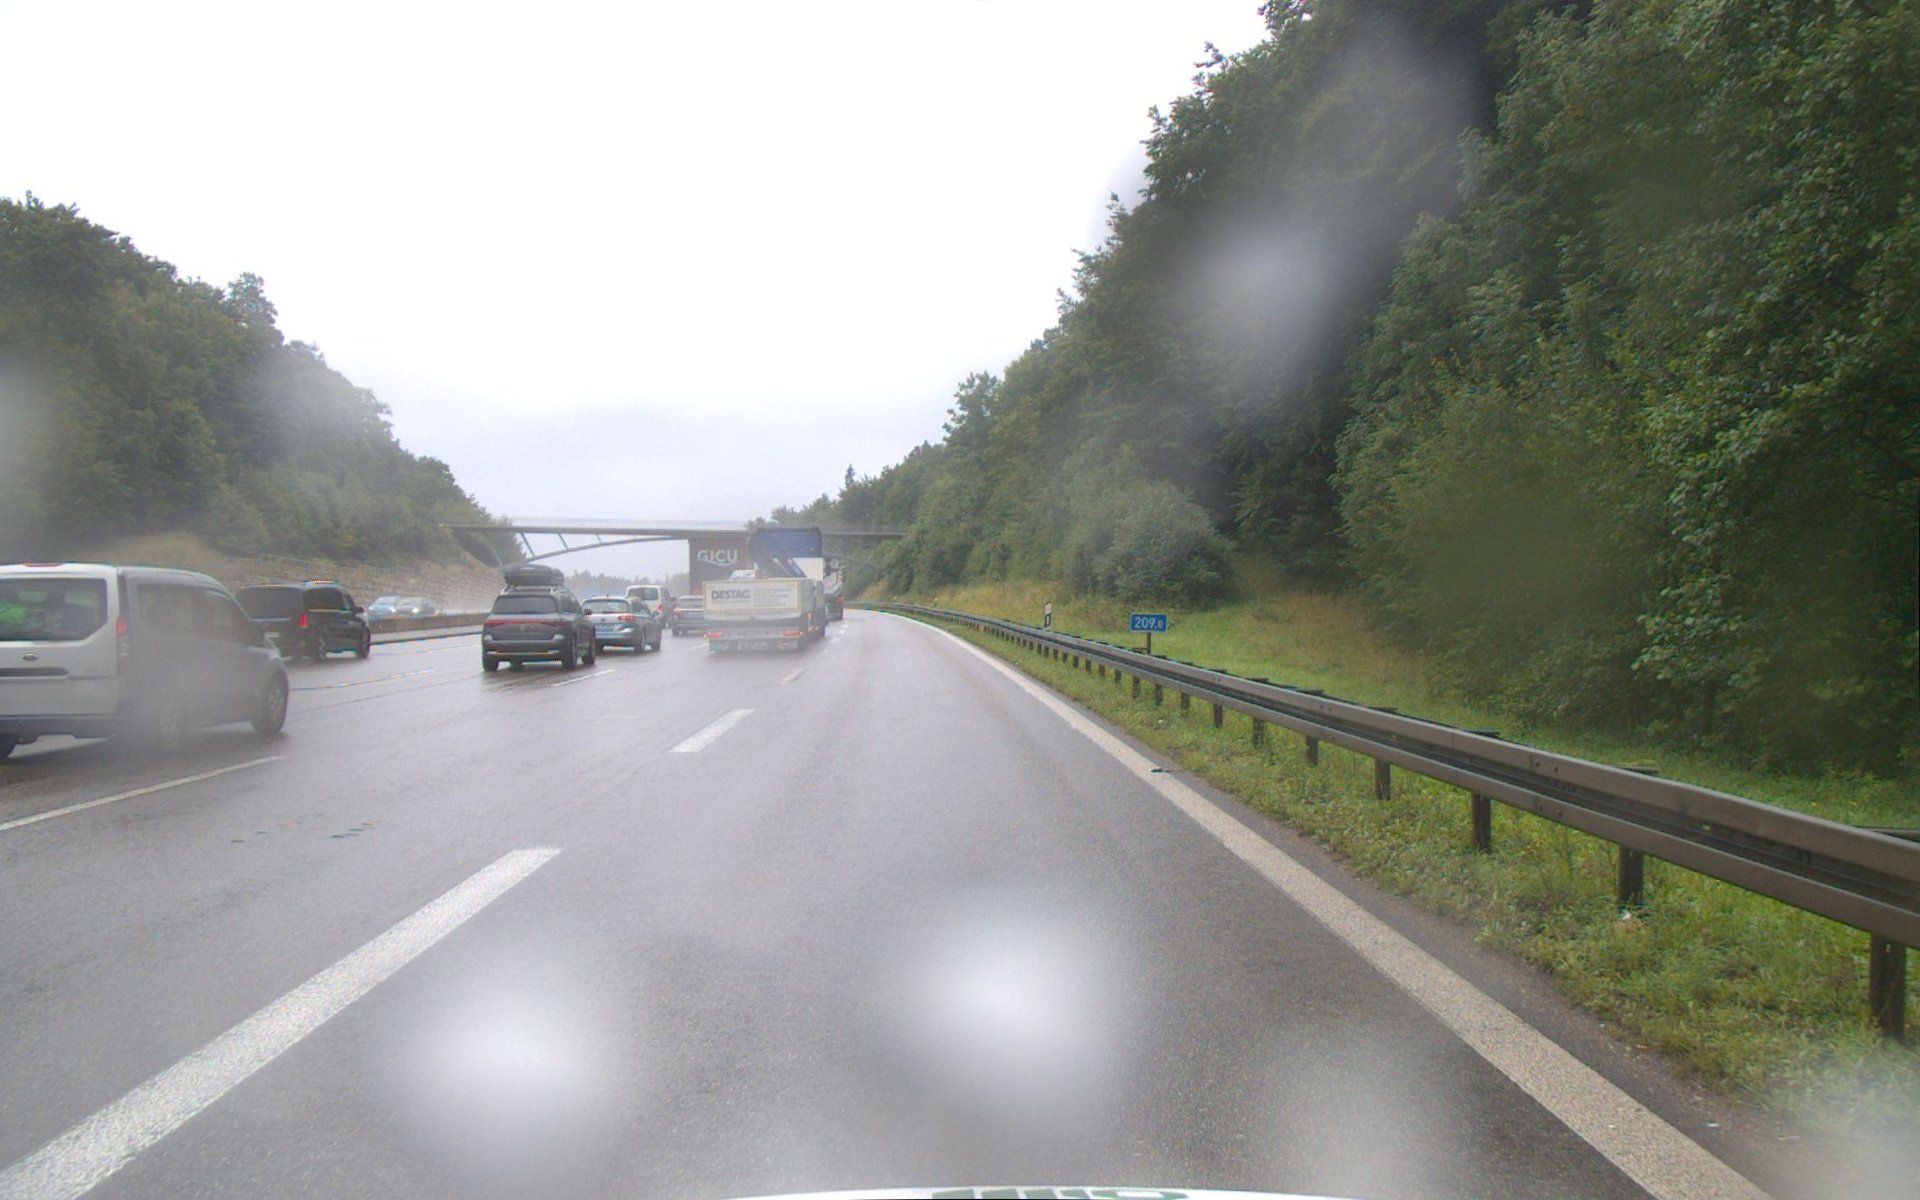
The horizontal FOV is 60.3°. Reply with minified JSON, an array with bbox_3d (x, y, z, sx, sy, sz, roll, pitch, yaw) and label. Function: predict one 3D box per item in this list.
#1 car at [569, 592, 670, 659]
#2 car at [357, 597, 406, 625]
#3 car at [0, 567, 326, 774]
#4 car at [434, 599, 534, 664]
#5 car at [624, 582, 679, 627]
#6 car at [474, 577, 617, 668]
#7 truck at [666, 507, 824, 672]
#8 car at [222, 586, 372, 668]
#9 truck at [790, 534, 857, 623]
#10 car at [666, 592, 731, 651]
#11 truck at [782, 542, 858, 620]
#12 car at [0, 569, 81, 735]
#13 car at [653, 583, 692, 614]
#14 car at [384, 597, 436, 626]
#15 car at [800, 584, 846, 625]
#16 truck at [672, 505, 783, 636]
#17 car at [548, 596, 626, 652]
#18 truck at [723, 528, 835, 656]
[{"bbox_3d":[-8.950,0.630,43.730,1.899,1.691,3.999,0,0,-1],"label":"car"},{"bbox_3d":[-38.493,0.708,110.180,1.953,1.816,3.999,0,0,-2],"label":"car"},{"bbox_3d":[-8.207,0.607,16.713,1.808,1.781,4.567,-1,0,0],"label":"car"},{"bbox_3d":[-14.210,0.951,49.590,1.749,1.777,3.999,3,-2,0],"label":"car"},{"bbox_3d":[-14.248,0.221,76.536,1.807,1.892,3.998,3,-2,-2],"label":"car"},{"bbox_3d":[-8.496,0.490,34.259,1.953,1.665,3.998,3,-2,-1],"label":"car"},{"bbox_3d":[-5.954,-0.301,47.968,3.528,4.177,11.554,0,0,-3],"label":"truck"},{"bbox_3d":[-15.944,0.603,40.056,1.888,1.864,4.585,0,0,-2],"label":"car"},{"bbox_3d":[-9.785,-1.437,119.747,4.250,5.864,9.723,3,-2,-3],"label":"truck"},{"bbox_3d":[-9.846,0.826,62.556,1.757,2.049,3.999,3,-2,-1],"label":"car"},{"bbox_3d":[-8.289,-1.015,99.594,3.679,4.040,11.055,3,-2,-1],"label":"truck"},{"bbox_3d":[-11.595,0.582,17.929,1.953,1.830,4.153,0,0,-1],"label":"car"},{"bbox_3d":[-17.508,-0.100,100.958,1.815,1.691,3.996,3,-2,-4],"label":"car"},{"bbox_3d":[-33.487,0.671,100.802,1.953,1.738,3.998,0,0,-2],"label":"car"},{"bbox_3d":[-6.661,0.256,80.939,1.953,1.831,3.998,3,-2,-2],"label":"car"},{"bbox_3d":[-10.906,-1.188,78.789,3.678,5.595,10.169,3,-2,-1],"label":"truck"},{"bbox_3d":[-11.728,0.736,52.187,1.720,1.676,3.998,0,0,-3],"label":"car"},{"bbox_3d":[-6.790,-0.169,63.783,3.437,4.342,10.596,3,-2,-3],"label":"truck"}]
